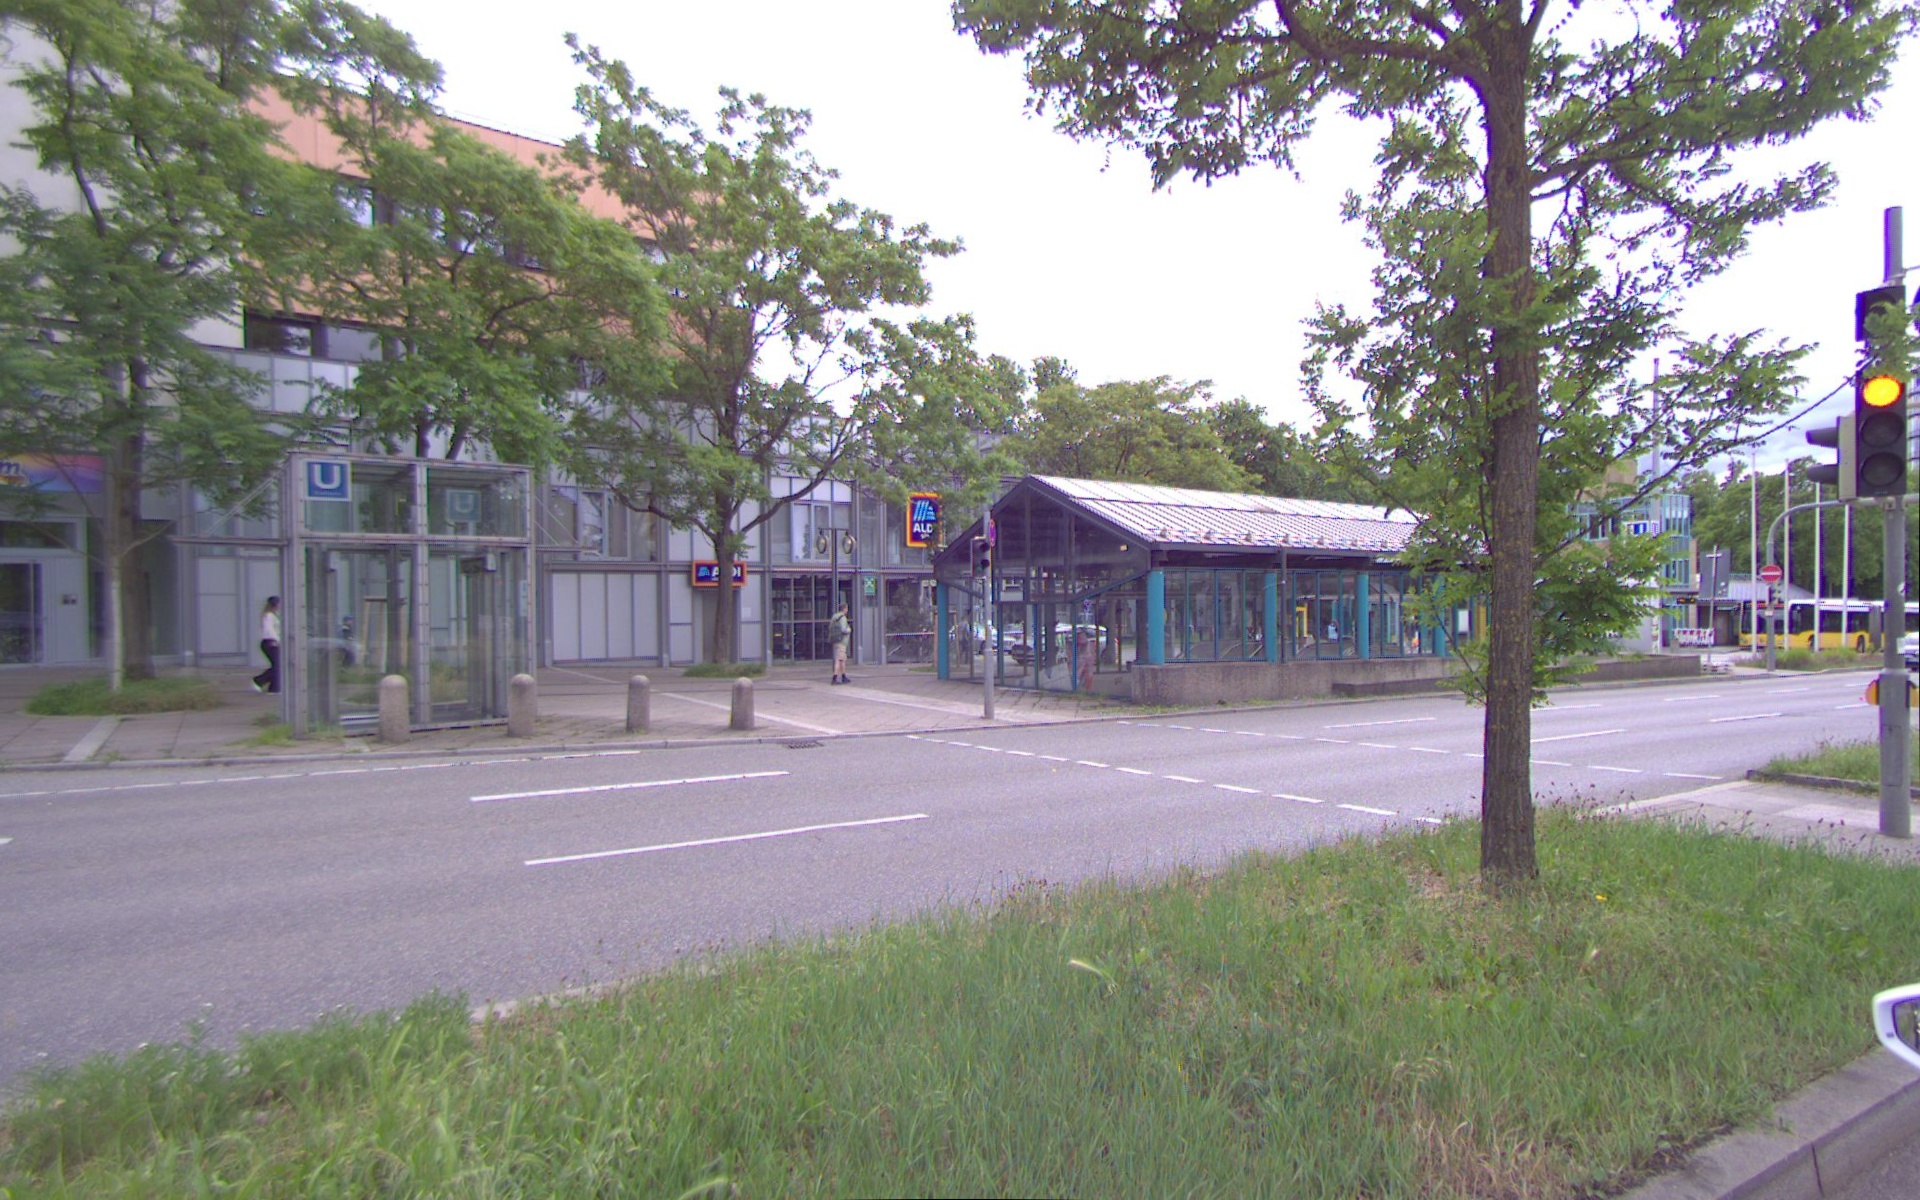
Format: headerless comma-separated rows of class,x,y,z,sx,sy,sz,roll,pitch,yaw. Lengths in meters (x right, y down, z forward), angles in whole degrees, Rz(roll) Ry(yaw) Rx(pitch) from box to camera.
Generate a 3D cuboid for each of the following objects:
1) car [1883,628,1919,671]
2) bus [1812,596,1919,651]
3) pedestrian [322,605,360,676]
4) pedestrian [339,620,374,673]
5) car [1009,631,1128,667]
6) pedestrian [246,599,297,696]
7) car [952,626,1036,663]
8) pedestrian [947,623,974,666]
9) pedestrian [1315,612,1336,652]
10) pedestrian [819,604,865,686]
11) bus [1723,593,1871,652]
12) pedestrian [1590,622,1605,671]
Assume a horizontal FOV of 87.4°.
car,37.547,1.915,39.167,3.316,1.599,1.673,1,-1,-36
bus,57.916,1.544,63.770,7.771,3.313,2.980,1,-1,-26
pedestrian,-13.682,0.890,22.211,0.617,1.523,0.562,1,-1,-40
pedestrian,-13.738,1.049,22.858,0.617,1.197,0.417,1,-1,-40
car,3.841,1.717,35.400,3.959,1.184,1.812,1,-2,-34
pedestrian,-12.198,0.825,17.813,0.714,1.672,0.672,1,0,-34
car,1.647,2.197,50.377,1.769,1.710,4.838,1,-1,-33
pedestrian,0.017,1.570,35.310,0.748,1.499,0.525,1,-1,-36
pedestrian,15.255,1.335,41.967,0.703,1.677,0.517,1,0,-37
pedestrian,-2.727,1.035,23.222,0.530,1.857,0.916,0,-1,44
bus,49.920,1.383,59.829,10.036,3.293,2.980,1,-1,-26
pedestrian,21.020,1.525,33.139,0.412,1.612,0.356,0,-1,31
